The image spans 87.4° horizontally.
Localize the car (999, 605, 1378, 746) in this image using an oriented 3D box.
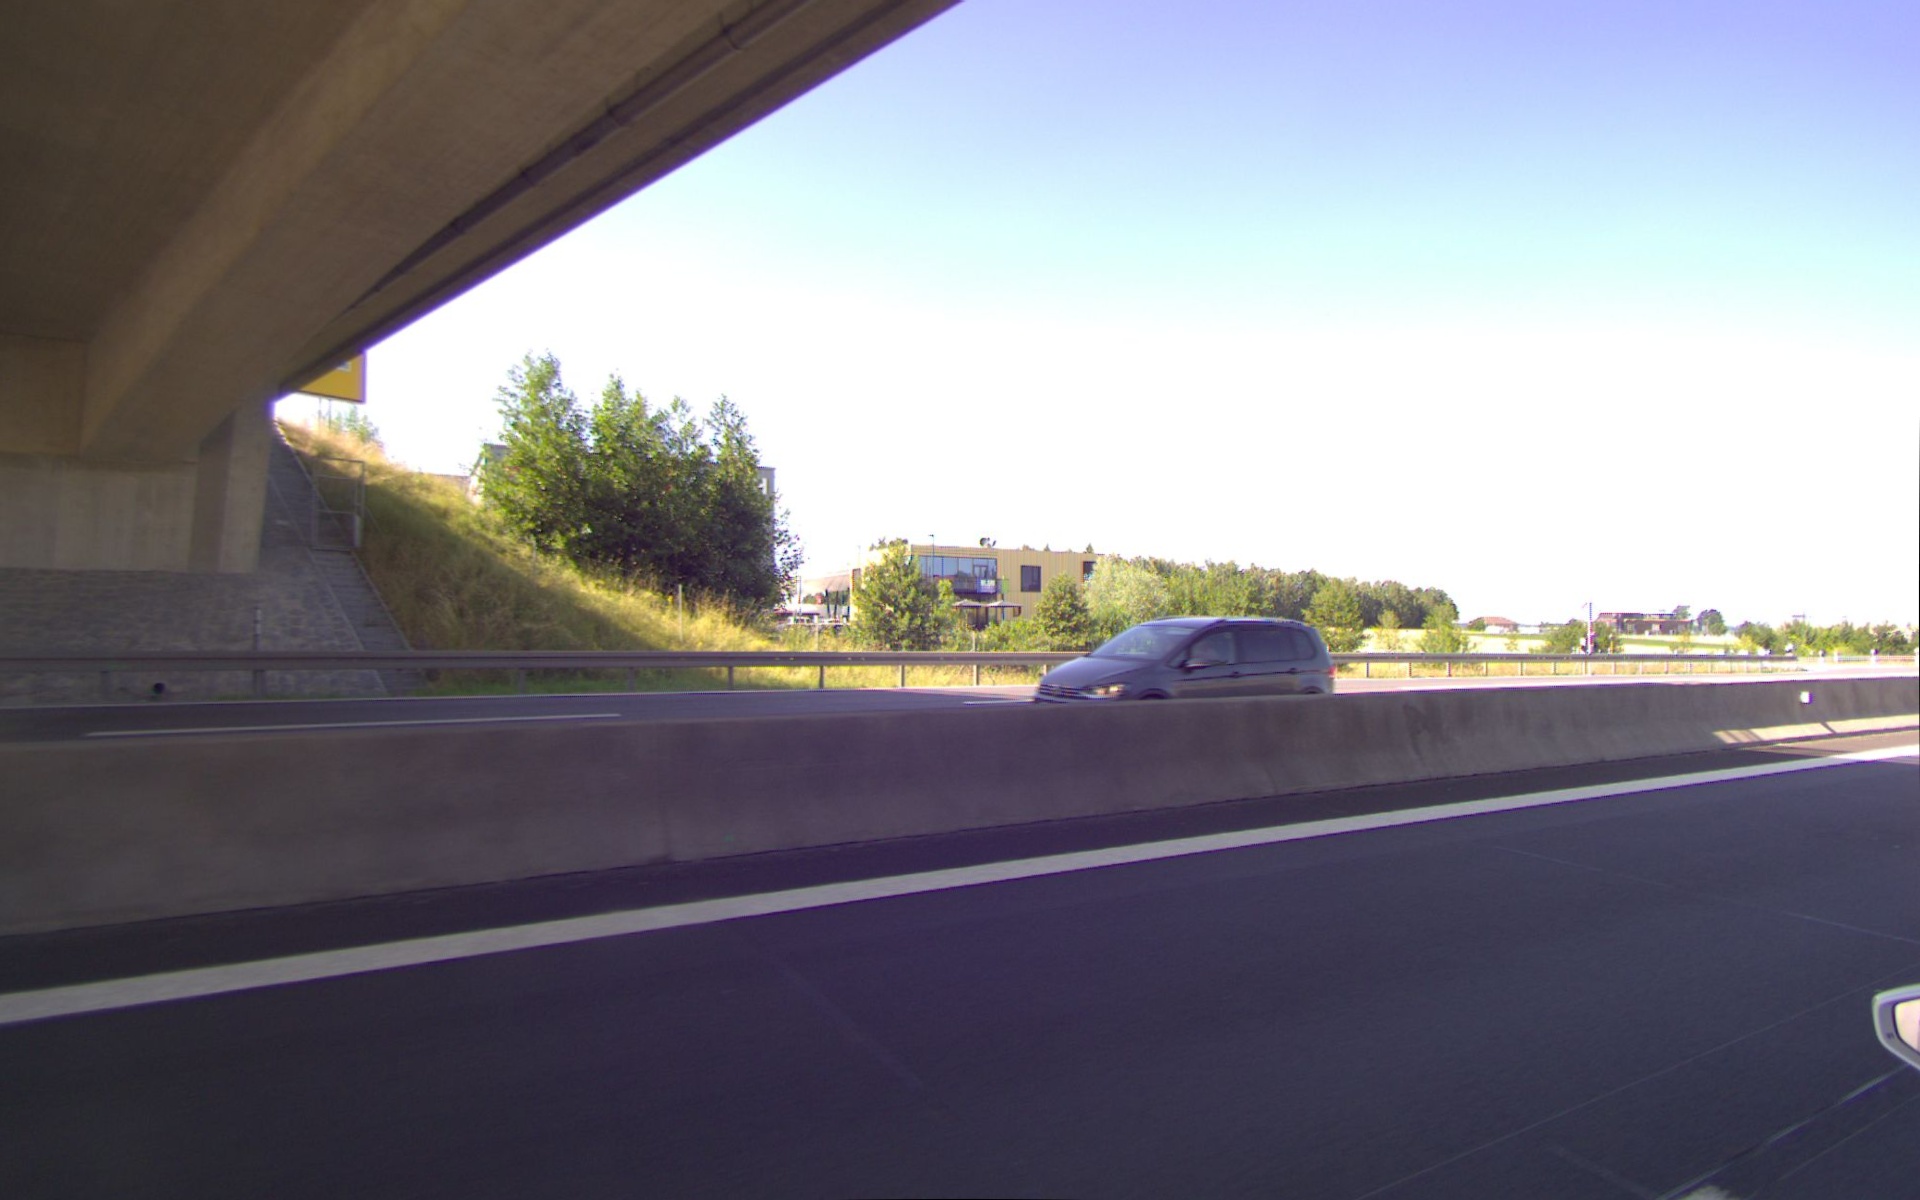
[{"bbox_3d":[3.135,0.918,13.498,4.868,1.595,2.060,1,-1,-30],"label":"car"}]
